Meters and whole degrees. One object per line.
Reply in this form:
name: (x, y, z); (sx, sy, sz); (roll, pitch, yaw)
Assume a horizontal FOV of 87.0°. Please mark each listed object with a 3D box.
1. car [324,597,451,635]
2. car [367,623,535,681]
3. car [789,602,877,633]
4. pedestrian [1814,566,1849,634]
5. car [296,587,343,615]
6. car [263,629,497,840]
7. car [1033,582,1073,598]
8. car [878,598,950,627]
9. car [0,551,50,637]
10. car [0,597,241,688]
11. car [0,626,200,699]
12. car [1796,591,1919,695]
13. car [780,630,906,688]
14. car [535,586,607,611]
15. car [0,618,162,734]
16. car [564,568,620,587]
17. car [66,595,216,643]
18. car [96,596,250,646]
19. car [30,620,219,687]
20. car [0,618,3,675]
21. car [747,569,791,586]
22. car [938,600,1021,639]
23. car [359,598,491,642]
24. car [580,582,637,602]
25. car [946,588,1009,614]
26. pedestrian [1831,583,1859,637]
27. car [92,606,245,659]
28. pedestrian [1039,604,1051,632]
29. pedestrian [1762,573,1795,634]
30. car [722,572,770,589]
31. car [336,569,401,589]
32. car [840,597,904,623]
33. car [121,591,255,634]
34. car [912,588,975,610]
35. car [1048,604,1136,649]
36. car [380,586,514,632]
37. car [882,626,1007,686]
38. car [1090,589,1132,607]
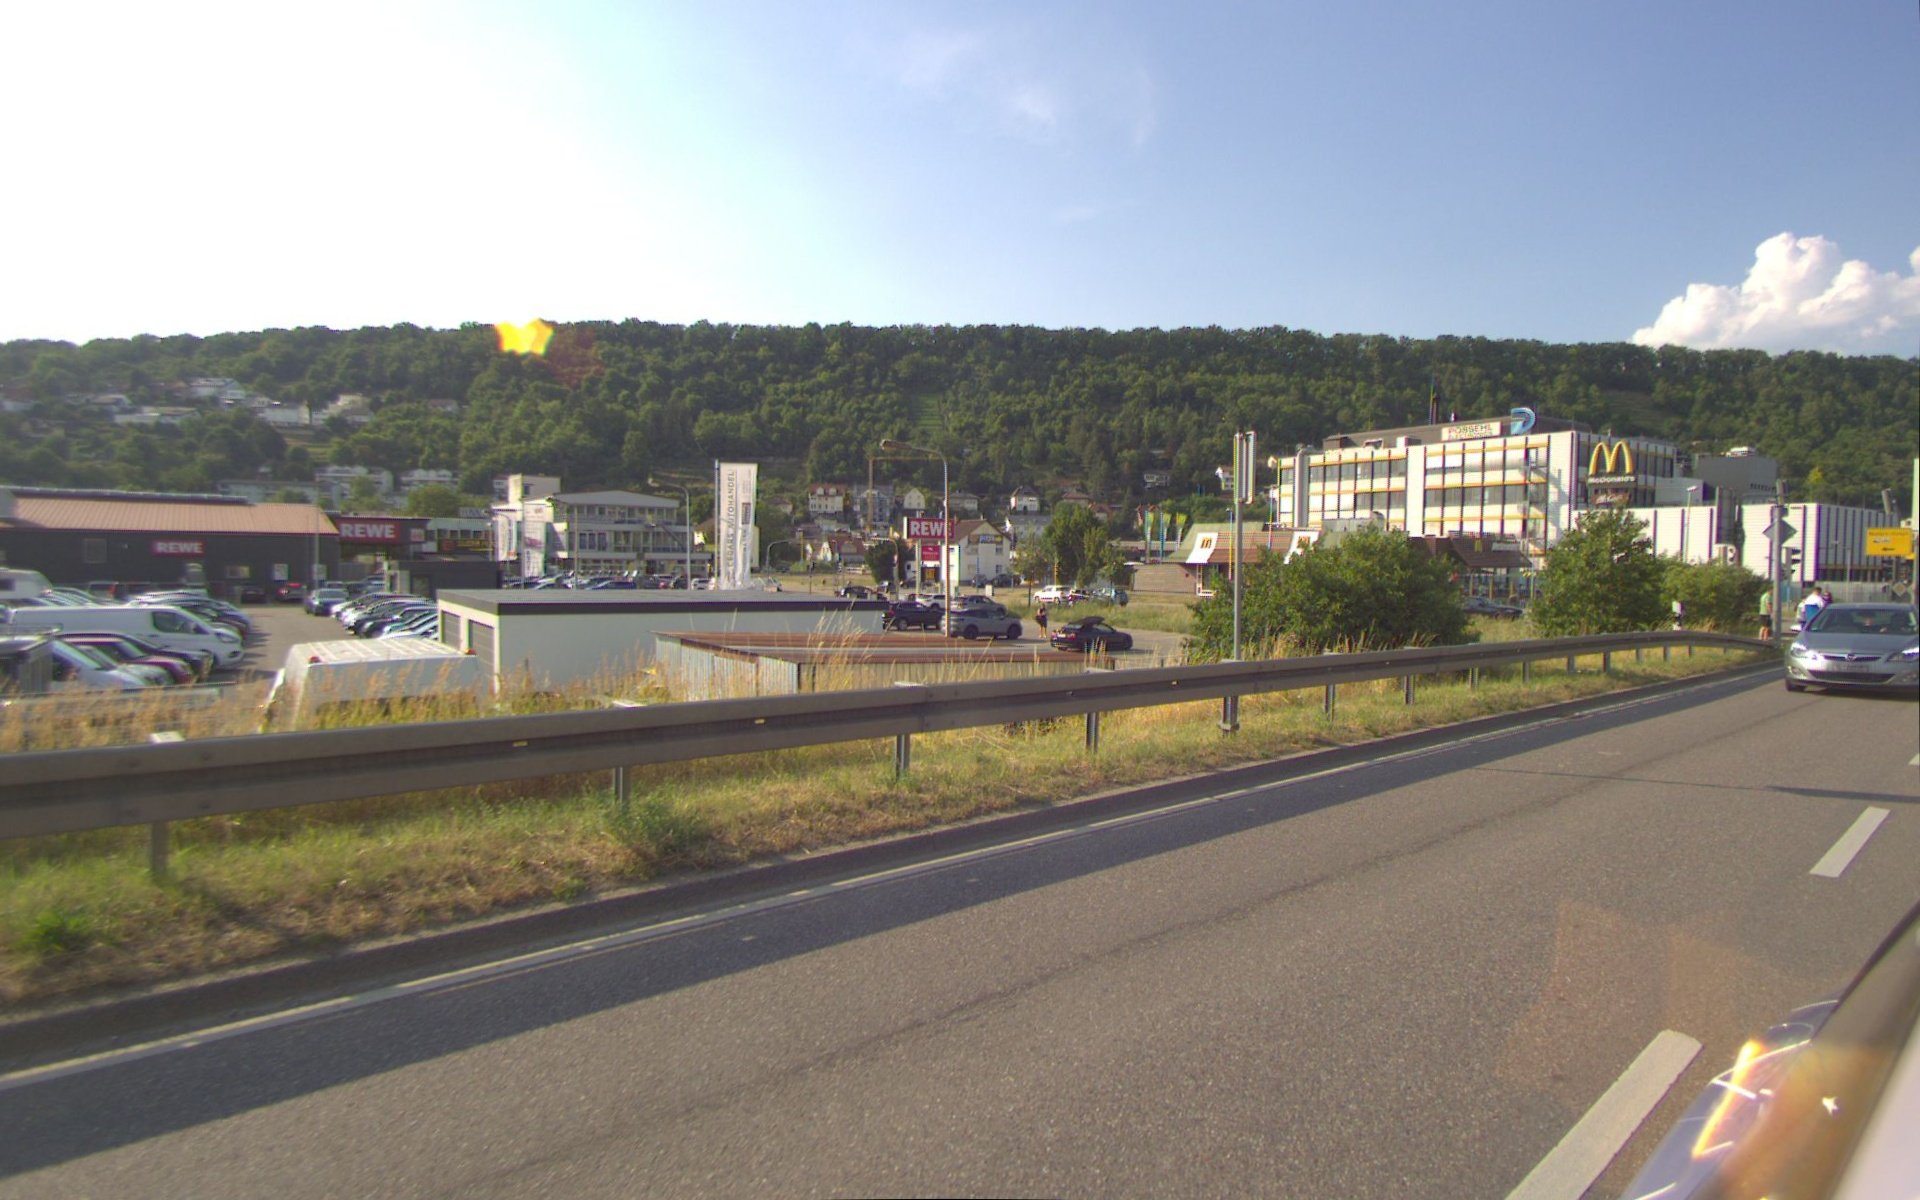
car: (-24.373, 0.679, 43.250); (4.387, 1.478, 1.764); (-1, 1, -11)
car: (-16.861, 1.674, 33.640); (4.739, 1.585, 1.760); (-2, 1, -37)
car: (-6.936, 0.931, 55.462); (4.452, 1.526, 1.907); (-2, 1, -38)
pedestrian: (25.260, -0.019, 29.331); (0.847, 1.906, 0.620); (-1, 3, -42)
car: (-36.286, 0.038, 57.263); (1.700, 1.527, 3.994); (0, 0, -40)
car: (-6.915, 1.357, 11.868); (1.802, 1.838, 3.996); (-1, 1, -38)
car: (8.317, -0.895, 90.699); (1.658, 1.438, 3.653); (-1, 1, -35)
car: (-2.656, 0.700, 58.542); (3.931, 1.527, 1.728); (-2, 1, -41)
car: (-30.749, -0.146, 30.026); (5.369, 2.581, 1.760); (-2, 1, -37)
car: (-23.750, 1.117, 28.872); (5.200, 2.274, 1.760); (-2, 1, -37)
car: (-21.082, 1.480, 24.877); (3.600, 1.522, 1.771); (-1, 1, -30)
car: (15.003, 0.611, 16.315); (3.815, 1.408, 1.690); (-2, 2, -40)
car: (-3.526, 1.743, 30.808); (3.518, 1.503, 1.533); (-2, 1, -36)
car: (-24.738, -0.117, 64.410); (3.930, 1.527, 1.728); (-1, 0, -41)
car: (-17.852, 1.411, 18.738); (4.739, 1.976, 1.760); (-2, 1, -37)
car: (-32.204, -2.004, 88.632); (4.266, 1.582, 1.835); (-2, 3, -42)
car: (-31.228, 0.669, 38.718); (1.710, 1.649, 4.157); (-1, 1, 26)
car: (-28.895, 0.737, 37.309); (1.710, 1.649, 4.157); (-1, 1, 26)
car: (-22.224, 1.379, 27.106); (3.600, 1.522, 1.771); (-1, 1, -30)
car: (-29.598, 1.427, 28.286); (3.927, 1.660, 1.760); (-2, 1, -37)
car: (-19.173, -2.252, 101.604); (3.932, 1.676, 1.789); (-2, 1, -42)
car: (1.026, 0.936, 51.354); (4.060, 1.723, 1.835); (-2, 3, -42)
car: (-21.004, 0.760, 39.924); (4.386, 1.585, 1.765); (-1, 1, -19)
car: (-30.091, -0.706, 86.589); (4.266, 1.582, 1.835); (-2, 3, -42)
car: (1.257, 0.062, 71.547); (4.080, 1.727, 1.999); (-2, 1, -36)
pedestrian: (27.606, 0.288, 31.568); (0.572, 1.634, 0.612); (4, 3, 45)
car: (-25.899, 1.009, 33.199); (1.759, 1.522, 3.625); (0, 1, 36)
pedestrian: (4.562, 0.950, 54.240); (0.556, 1.477, 0.381); (-1, 0, -15)
pedestrian: (24.626, 0.098, 30.439); (0.527, 1.770, 0.533); (-1, 5, -36)
car: (-20.647, -1.882, 97.759); (4.266, 1.582, 1.835); (-2, 3, -42)
car: (-50.625, -1.798, 86.684); (4.507, 1.607, 1.835); (-2, 3, -42)
car: (-5.449, 0.590, 62.925); (3.609, 1.522, 1.766); (-2, 1, -41)
car: (-32.237, 0.476, 42.381); (1.710, 1.649, 4.157); (-1, 1, 26)
car: (-1.251, -0.109, 75.924); (4.354, 1.544, 2.001); (-2, 1, -34)
car: (5.977, 1.162, 45.733); (4.063, 1.723, 1.833); (-2, 4, -45)
car: (-19.193, 0.297, 38.093); (4.387, 1.585, 1.764); (-1, 1, -24)
car: (-0.437, 1.629, 30.270); (3.518, 1.503, 1.533); (-2, 1, -36)
car: (12.753, -0.183, 85.616); (1.548, 1.504, 3.322); (-1, 1, -37)
